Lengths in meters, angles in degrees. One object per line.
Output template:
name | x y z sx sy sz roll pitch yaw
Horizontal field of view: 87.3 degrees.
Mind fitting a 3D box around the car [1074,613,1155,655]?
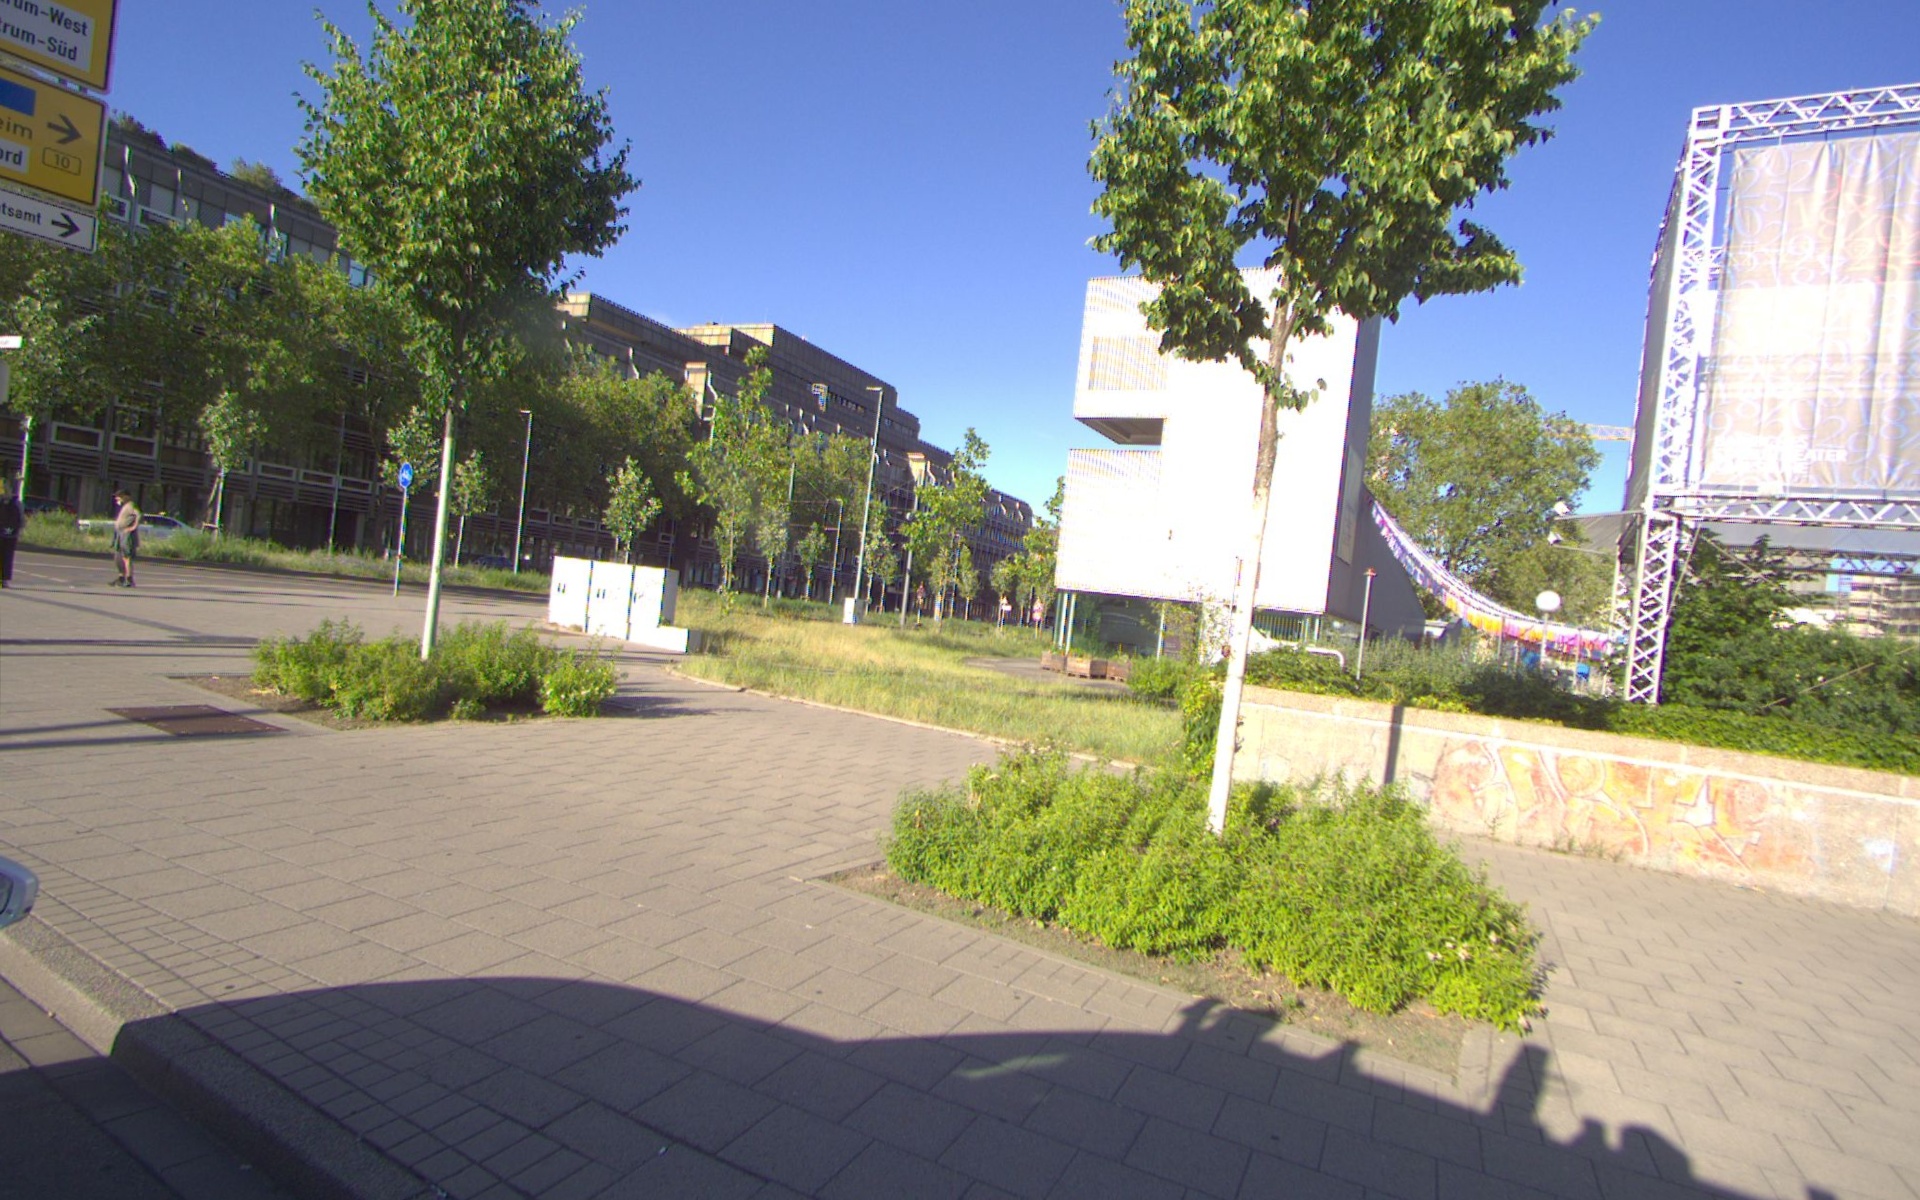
car | 10.861 2.420 70.501 5.661 2.308 1.874 7 0 -35

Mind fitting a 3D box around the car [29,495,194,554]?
car | -35.237 -3.096 41.922 1.794 1.704 4.854 7 -1 28

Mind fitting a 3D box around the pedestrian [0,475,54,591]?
pedestrian | -14.223 -1.015 14.970 0.859 1.634 0.767 7 1 30

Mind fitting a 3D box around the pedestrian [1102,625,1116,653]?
pedestrian | 9.062 2.377 61.172 0.520 1.571 0.638 7 -1 31

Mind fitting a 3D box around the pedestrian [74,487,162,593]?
pedestrian | -14.992 -1.055 17.920 0.755 1.728 0.873 7 1 30

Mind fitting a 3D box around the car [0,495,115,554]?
car | -33.145 -2.769 35.788 1.792 1.704 4.302 7 -1 21
